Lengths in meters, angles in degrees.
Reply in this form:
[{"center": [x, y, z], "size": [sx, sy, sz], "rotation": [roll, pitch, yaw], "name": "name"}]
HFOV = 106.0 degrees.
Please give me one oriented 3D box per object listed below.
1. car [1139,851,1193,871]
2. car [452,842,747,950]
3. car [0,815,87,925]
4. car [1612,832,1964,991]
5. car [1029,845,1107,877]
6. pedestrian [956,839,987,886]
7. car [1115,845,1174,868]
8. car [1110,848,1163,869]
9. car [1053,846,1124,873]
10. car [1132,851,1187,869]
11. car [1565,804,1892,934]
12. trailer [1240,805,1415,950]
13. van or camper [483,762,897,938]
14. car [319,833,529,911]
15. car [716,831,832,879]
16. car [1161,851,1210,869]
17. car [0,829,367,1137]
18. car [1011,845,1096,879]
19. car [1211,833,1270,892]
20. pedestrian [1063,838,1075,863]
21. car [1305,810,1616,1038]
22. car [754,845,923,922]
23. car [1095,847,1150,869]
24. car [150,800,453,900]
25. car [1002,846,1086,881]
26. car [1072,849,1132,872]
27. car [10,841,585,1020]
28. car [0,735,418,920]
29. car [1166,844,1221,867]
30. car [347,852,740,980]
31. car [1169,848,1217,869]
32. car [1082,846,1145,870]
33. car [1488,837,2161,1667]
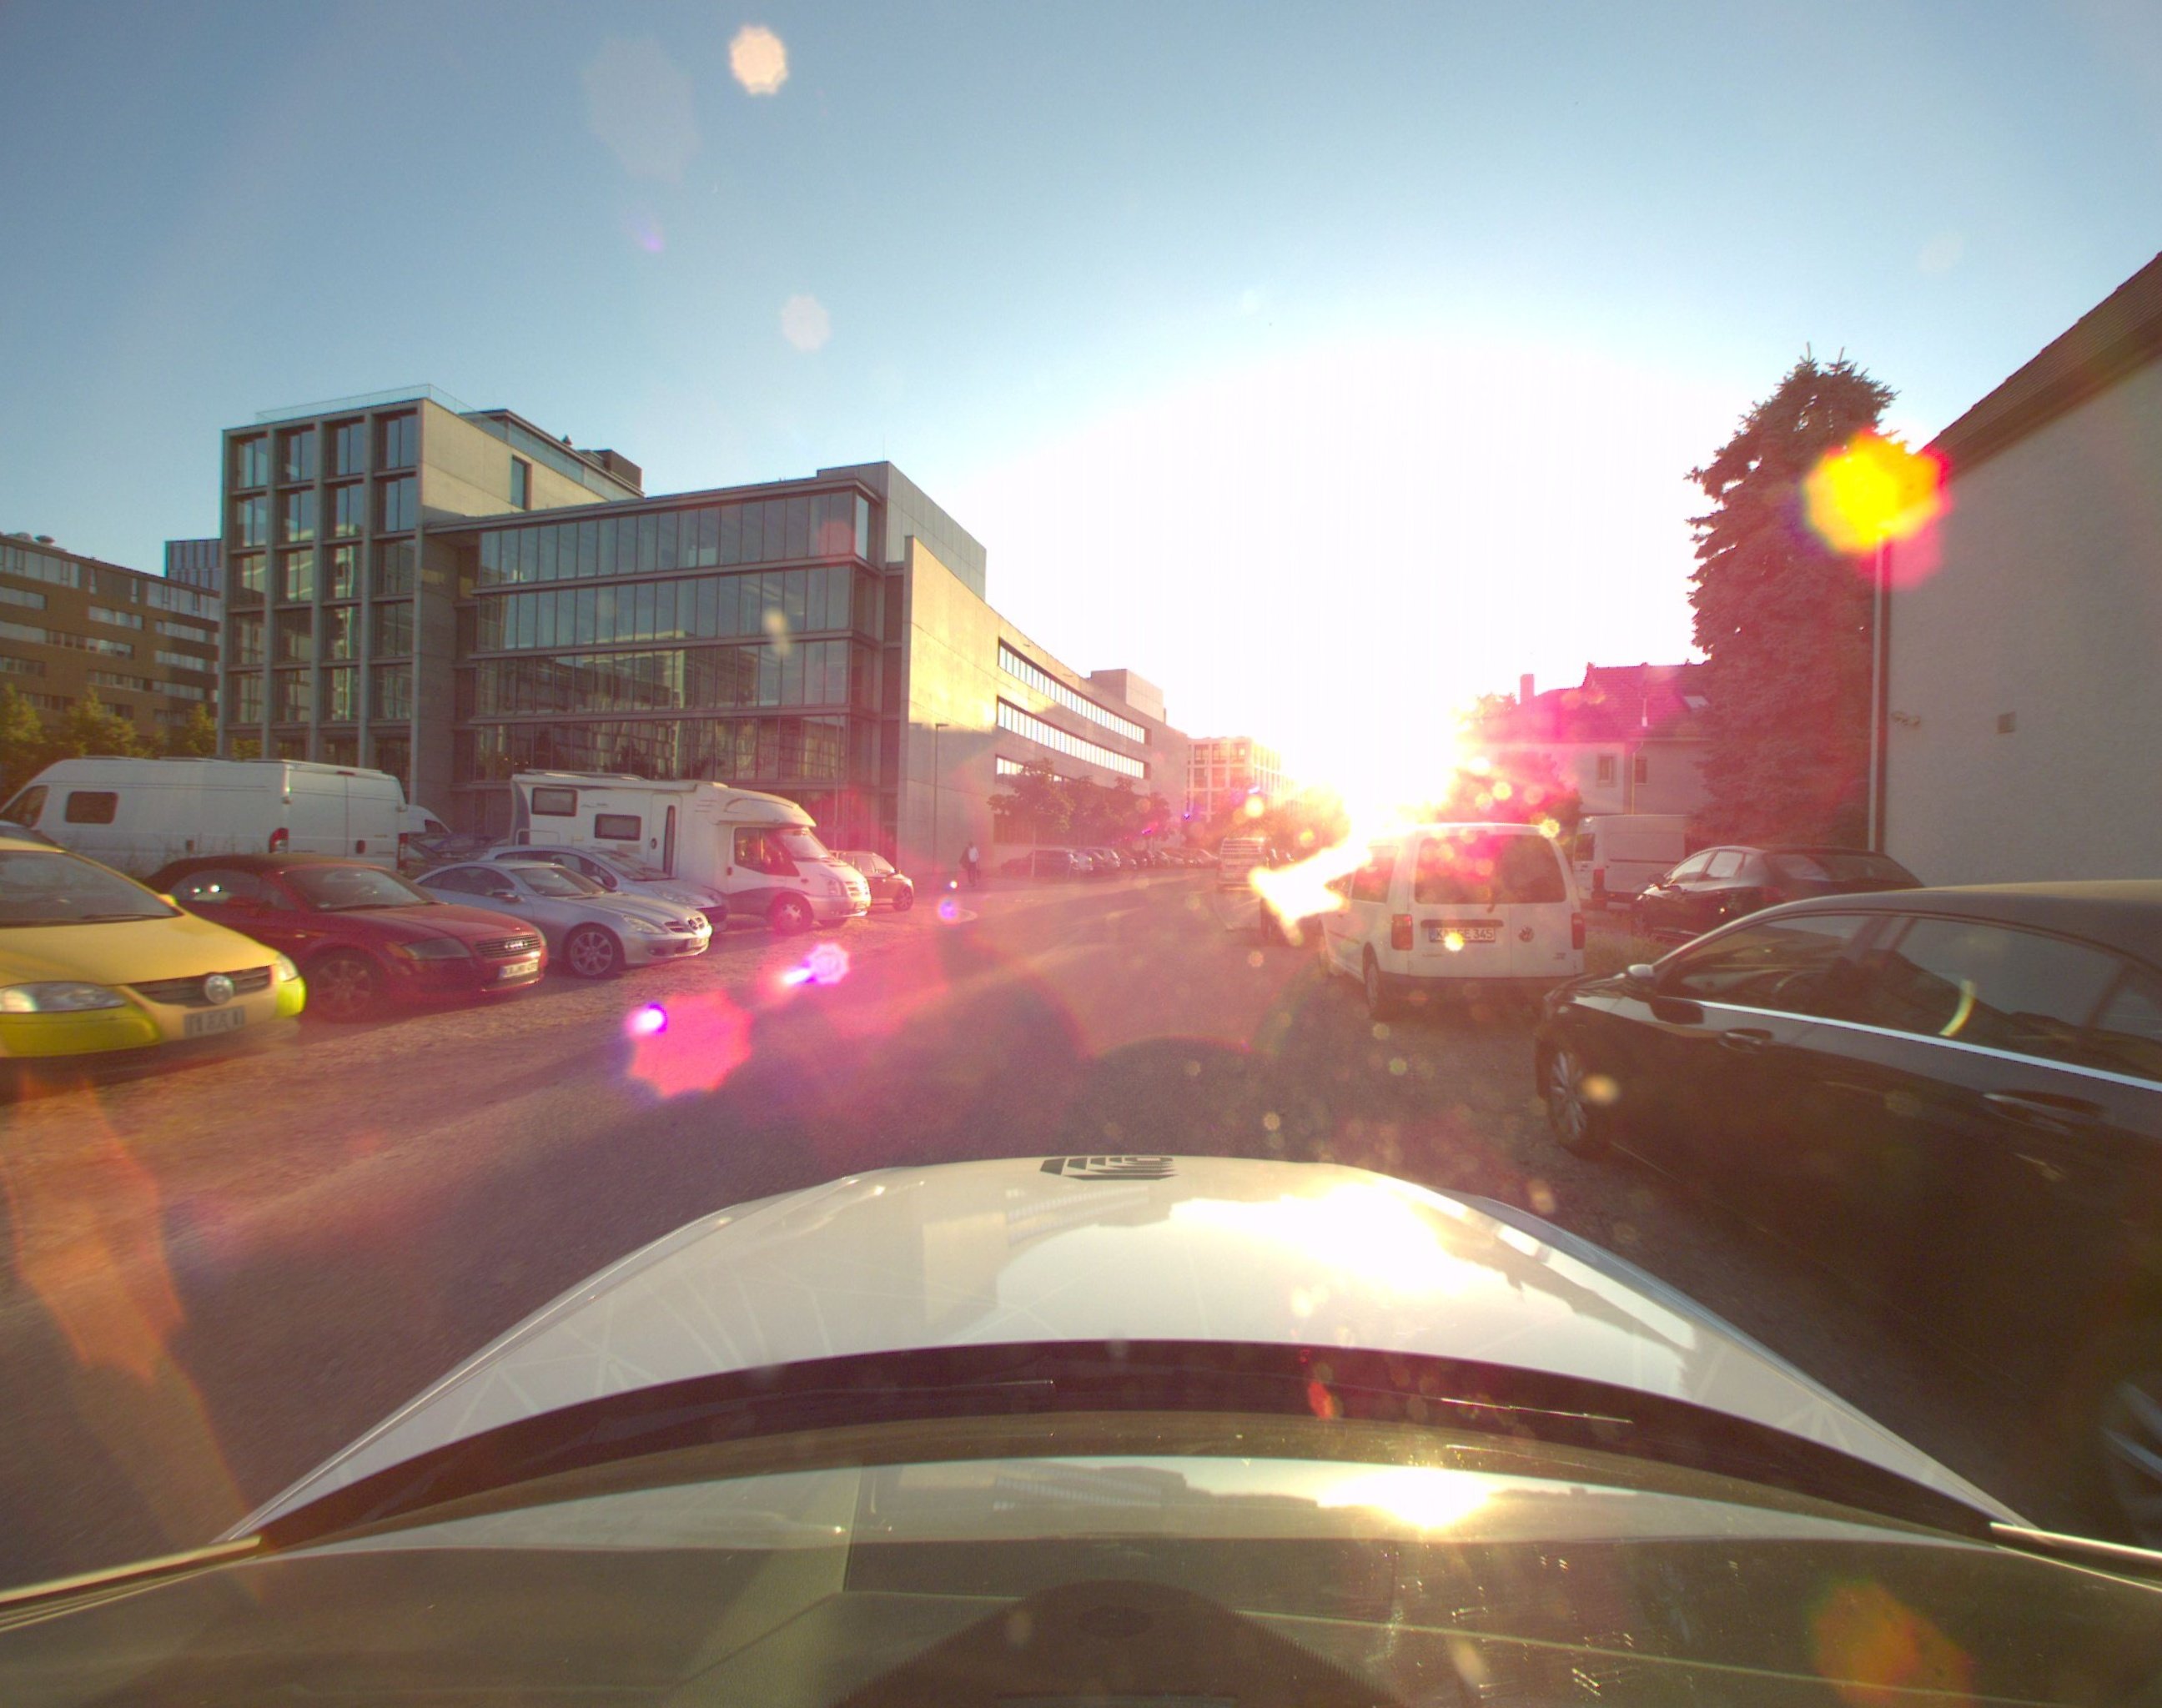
[{"center": [7.493, 0.606, 72.132], "size": [4.358, 1.499, 1.773], "rotation": [3, 0, 25], "name": "car"}, {"center": [-7.504, 0.623, 12.958], "size": [3.594, 1.476, 1.692], "rotation": [2, 0, -1], "name": "car"}, {"center": [-16.362, 0.146, 11.049], "size": [3.592, 1.476, 1.693], "rotation": [2, 0, 0], "name": "car"}, {"center": [8.105, 0.603, 9.863], "size": [1.624, 1.519, 3.917], "rotation": [0, -2, 14], "name": "car"}, {"center": [-0.689, 0.356, 44.444], "size": [3.974, 1.512, 1.589], "rotation": [2, 2, 9], "name": "car"}, {"center": [-4.370, 0.320, 32.539], "size": [0.907, 1.850, 0.846], "rotation": [0, 1, -43], "name": "pedestrian"}, {"center": [5.020, 0.195, 64.175], "size": [4.275, 1.696, 1.905], "rotation": [1, 0, 18], "name": "car"}, {"center": [4.195, 0.311, 61.642], "size": [3.673, 1.457, 1.687], "rotation": [1, 0, 18], "name": "car"}, {"center": [0.471, 0.312, 49.257], "size": [3.958, 1.511, 1.767], "rotation": [2, 1, 14], "name": "car"}, {"center": [6.741, 0.513, 69.873], "size": [4.396, 1.464, 1.772], "rotation": [1, 1, 21], "name": "car"}, {"center": [14.672, 0.239, 18.904], "size": [5.520, 2.692, 2.063], "rotation": [1, 2, 17], "name": "car"}, {"center": [4.286, 0.334, 15.097], "size": [2.054, 2.211, 5.230], "rotation": [0, 0, 5], "name": "trailer"}, {"center": [-7.218, -0.103, 15.547], "size": [6.709, 2.897, 2.412], "rotation": [2, 0, 4], "name": "van or camper"}, {"center": [-13.908, 0.359, 17.313], "size": [3.418, 1.447, 1.518], "rotation": [2, 0, 9], "name": "car"}, {"center": [-12.588, 0.017, 33.471], "size": [4.057, 1.831, 1.855], "rotation": [1, 2, 13], "name": "car"}, {"center": [9.798, 0.581, 76.243], "size": [4.109, 1.404, 1.733], "rotation": [3, 0, 21], "name": "car"}, {"center": [-7.005, 0.617, 5.022], "size": [3.616, 1.519, 1.705], "rotation": [2, 0, 0], "name": "car"}, {"center": [-1.389, 0.392, 42.169], "size": [4.062, 1.528, 1.851], "rotation": [2, 1, 9], "name": "car"}, {"center": [6.176, 0.276, 31.260], "size": [2.051, 2.095, 4.888], "rotation": [0, 0, 12], "name": "car"}, {"center": [-0.857, -0.226, 59.222], "size": [0.641, 1.784, 0.728], "rotation": [2, 0, 15], "name": "pedestrian"}, {"center": [3.674, 0.541, 8.813], "size": [1.762, 1.831, 4.416], "rotation": [0, 0, 7], "name": "car"}, {"center": [-5.494, 0.626, 19.107], "size": [1.674, 1.519, 4.378], "rotation": [2, 0, 15], "name": "car"}, {"center": [3.060, 0.288, 59.697], "size": [3.674, 1.457, 1.719], "rotation": [1, 0, 16], "name": "car"}, {"center": [-24.912, -0.139, 26.634], "size": [2.191, 2.801, 7.009], "rotation": [2, 1, 13], "name": "car"}, {"center": [-1.753, 0.436, 39.423], "size": [3.712, 1.482, 1.774], "rotation": [2, 1, 9], "name": "car"}, {"center": [1.357, 0.414, 52.572], "size": [3.610, 1.361, 1.691], "rotation": [2, 1, 10], "name": "car"}, {"center": [-7.105, 0.640, 7.702], "size": [3.713, 1.367, 1.705], "rotation": [2, 0, 0], "name": "car"}, {"center": [-14.936, -0.471, 13.669], "size": [6.205, 2.673, 2.229], "rotation": [2, 0, 9], "name": "car"}, {"center": [11.266, 0.140, 81.441], "size": [5.032, 1.946, 1.899], "rotation": [3, 0, 22], "name": "car"}, {"center": [-6.604, 0.715, 10.291], "size": [3.793, 1.328, 1.694], "rotation": [2, 0, 2], "name": "car"}, {"center": [10.717, 0.427, 77.966], "size": [4.211, 1.742, 1.733], "rotation": [3, 0, 21], "name": "car"}, {"center": [2.189, 0.252, 54.805], "size": [3.841, 1.511, 1.767], "rotation": [2, 1, 15], "name": "car"}, {"center": [3.018, 0.726, 2.781], "size": [1.695, 1.519, 4.097], "rotation": [0, 0, 8], "name": "car"}]
